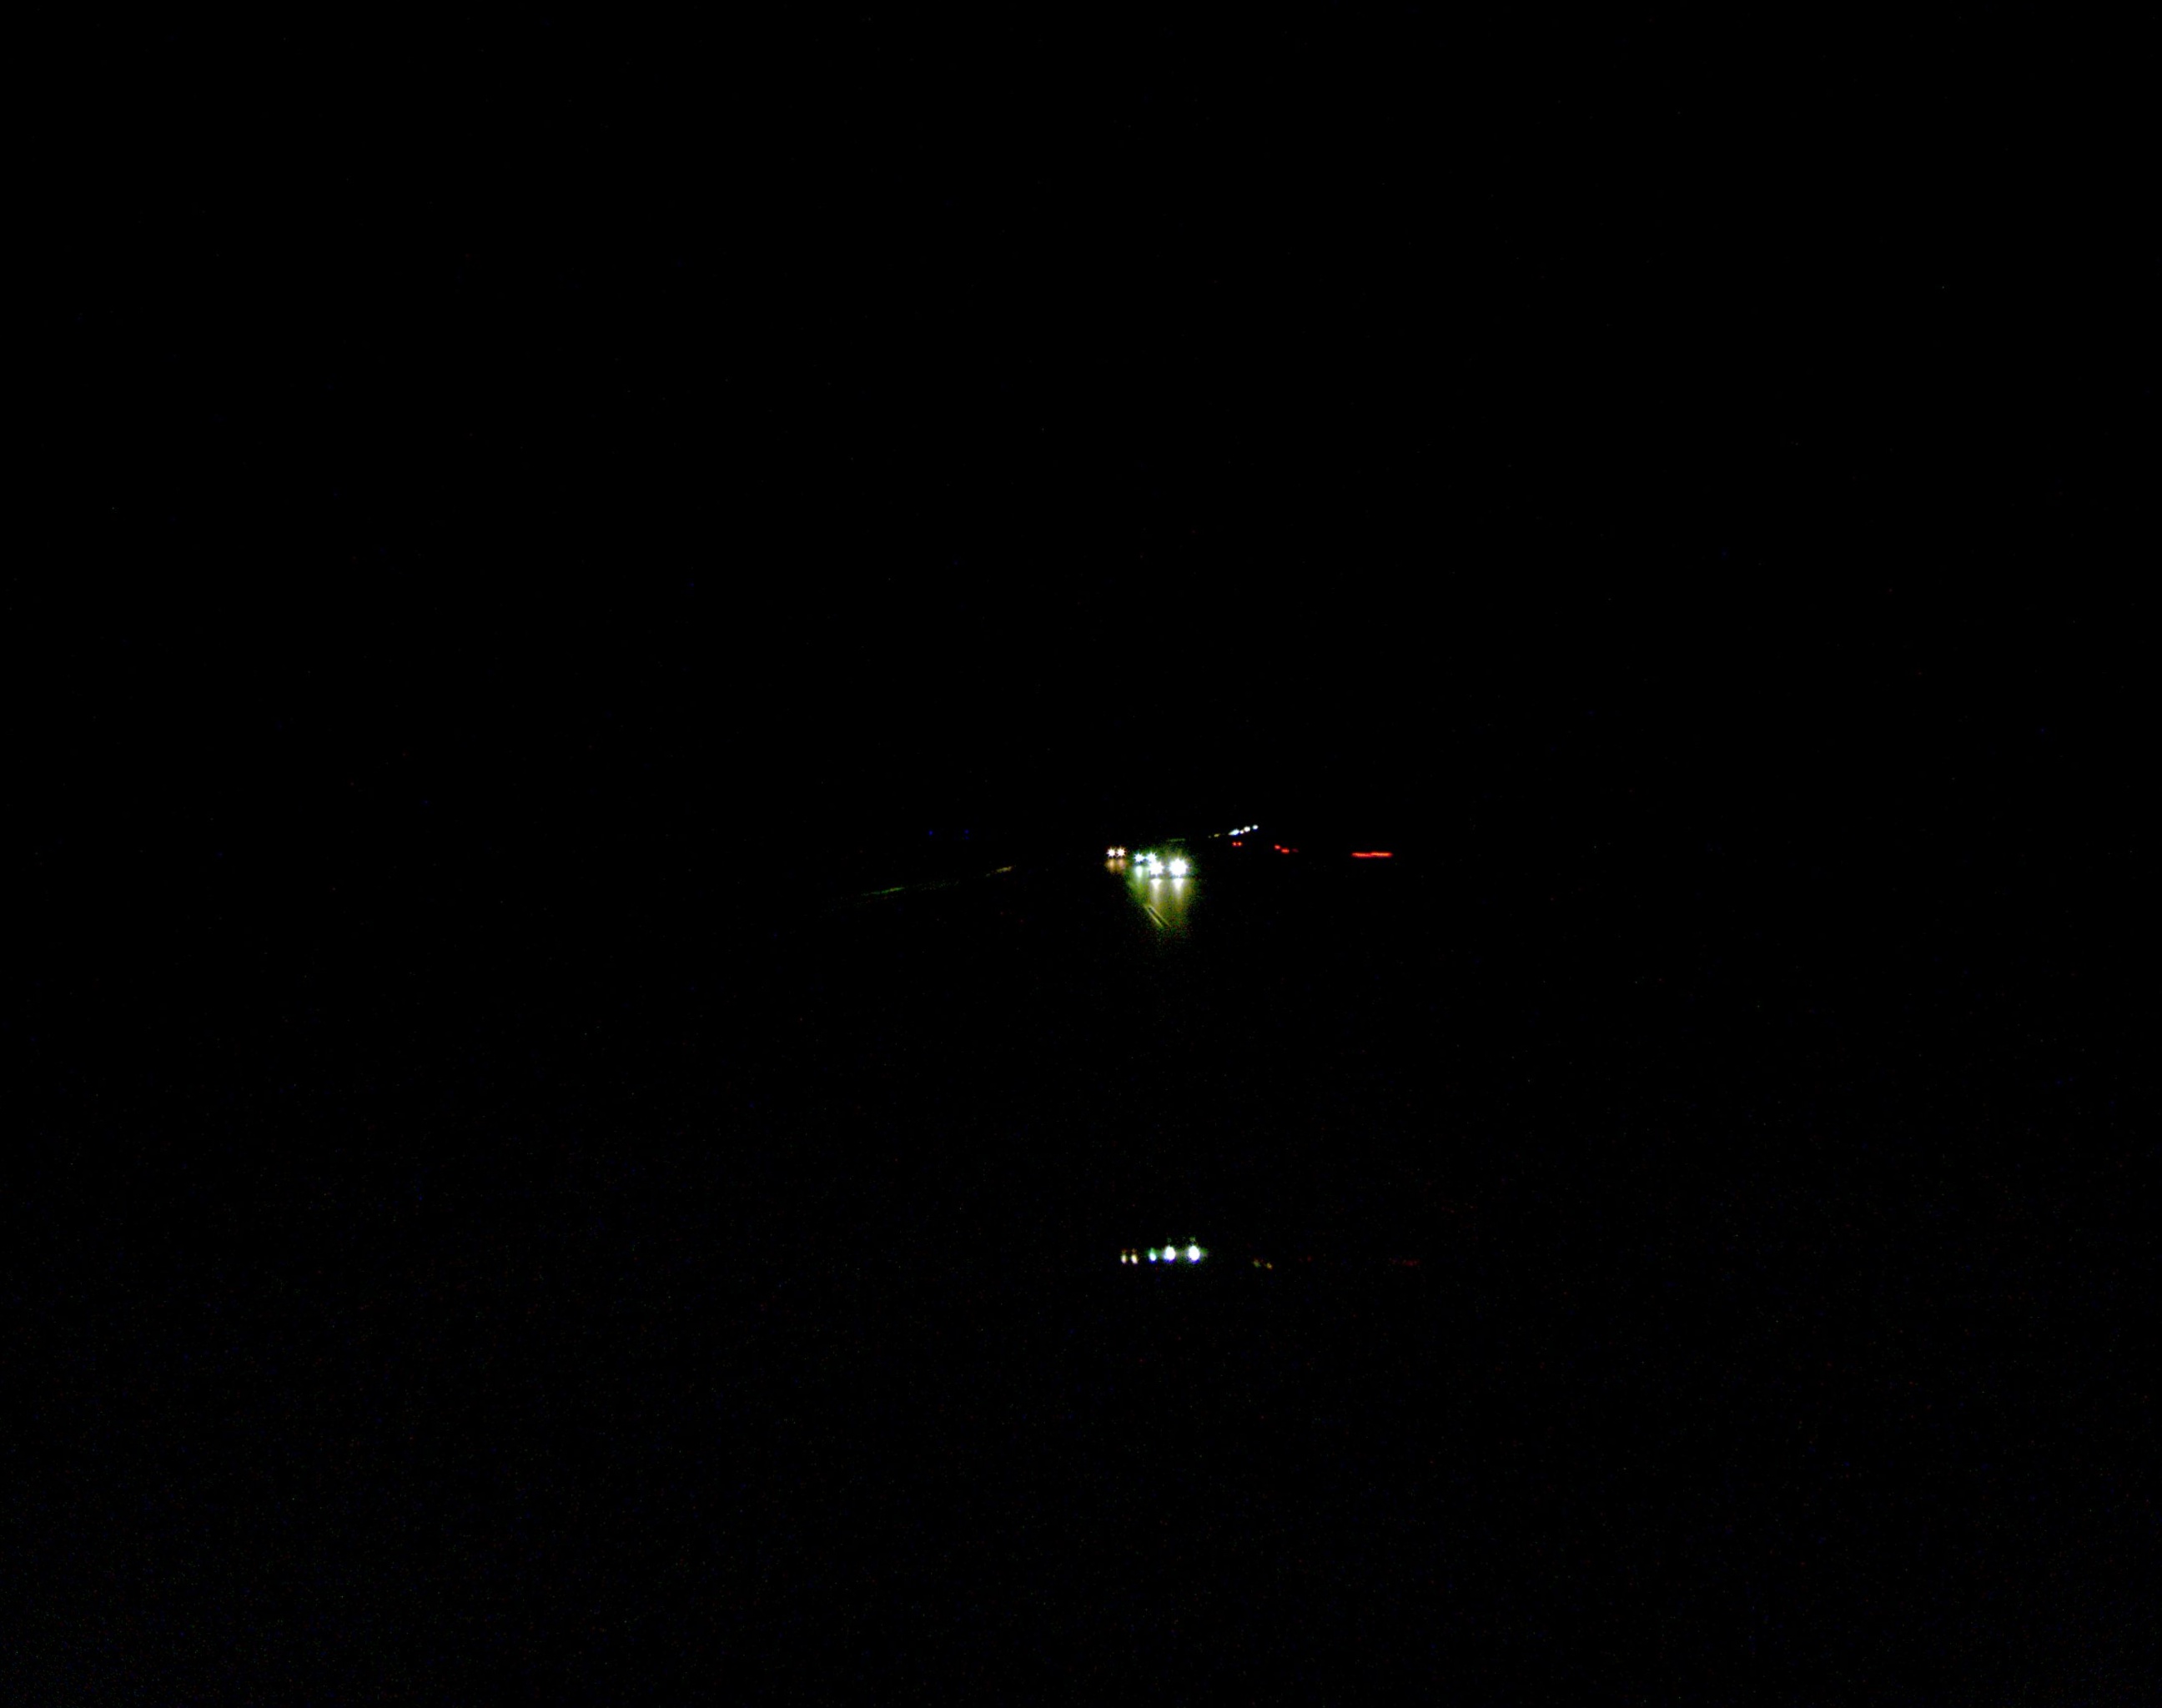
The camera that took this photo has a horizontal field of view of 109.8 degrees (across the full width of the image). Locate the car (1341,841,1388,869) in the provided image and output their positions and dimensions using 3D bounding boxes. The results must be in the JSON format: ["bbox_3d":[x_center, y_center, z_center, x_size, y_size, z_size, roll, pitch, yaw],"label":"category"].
[{"bbox_3d":[18.374,0.040,49.427,1.539,1.589,3.999,-3,2,1],"label":"car"}]

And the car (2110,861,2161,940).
[{"bbox_3d":[18.189,0.792,10.886,1.539,1.215,3.999,-3,2,1],"label":"car"}]

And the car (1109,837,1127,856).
[{"bbox_3d":[5.906,-1.204,121.833,2.534,2.889,6.226,-3,2,1],"label":"car"}]

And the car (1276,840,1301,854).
[{"bbox_3d":[23.813,-0.799,87.302,1.998,1.499,4.000,-2,1,3],"label":"car"}]

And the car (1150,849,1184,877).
[{"bbox_3d":[5.091,0.512,44.655,1.832,1.404,4.001,-3,2,8],"label":"car"}]

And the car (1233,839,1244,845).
[{"bbox_3d":[40.948,-3.044,197.433,1.998,1.499,4.315,-2,1,3],"label":"car"}]

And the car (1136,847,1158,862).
[{"bbox_3d":[7.137,0.021,81.873,1.997,1.456,4.001,-3,2,8],"label":"car"}]

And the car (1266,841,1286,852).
[{"bbox_3d":[28.729,-1.121,112.009,1.998,1.499,4.000,-2,1,3],"label":"car"}]
